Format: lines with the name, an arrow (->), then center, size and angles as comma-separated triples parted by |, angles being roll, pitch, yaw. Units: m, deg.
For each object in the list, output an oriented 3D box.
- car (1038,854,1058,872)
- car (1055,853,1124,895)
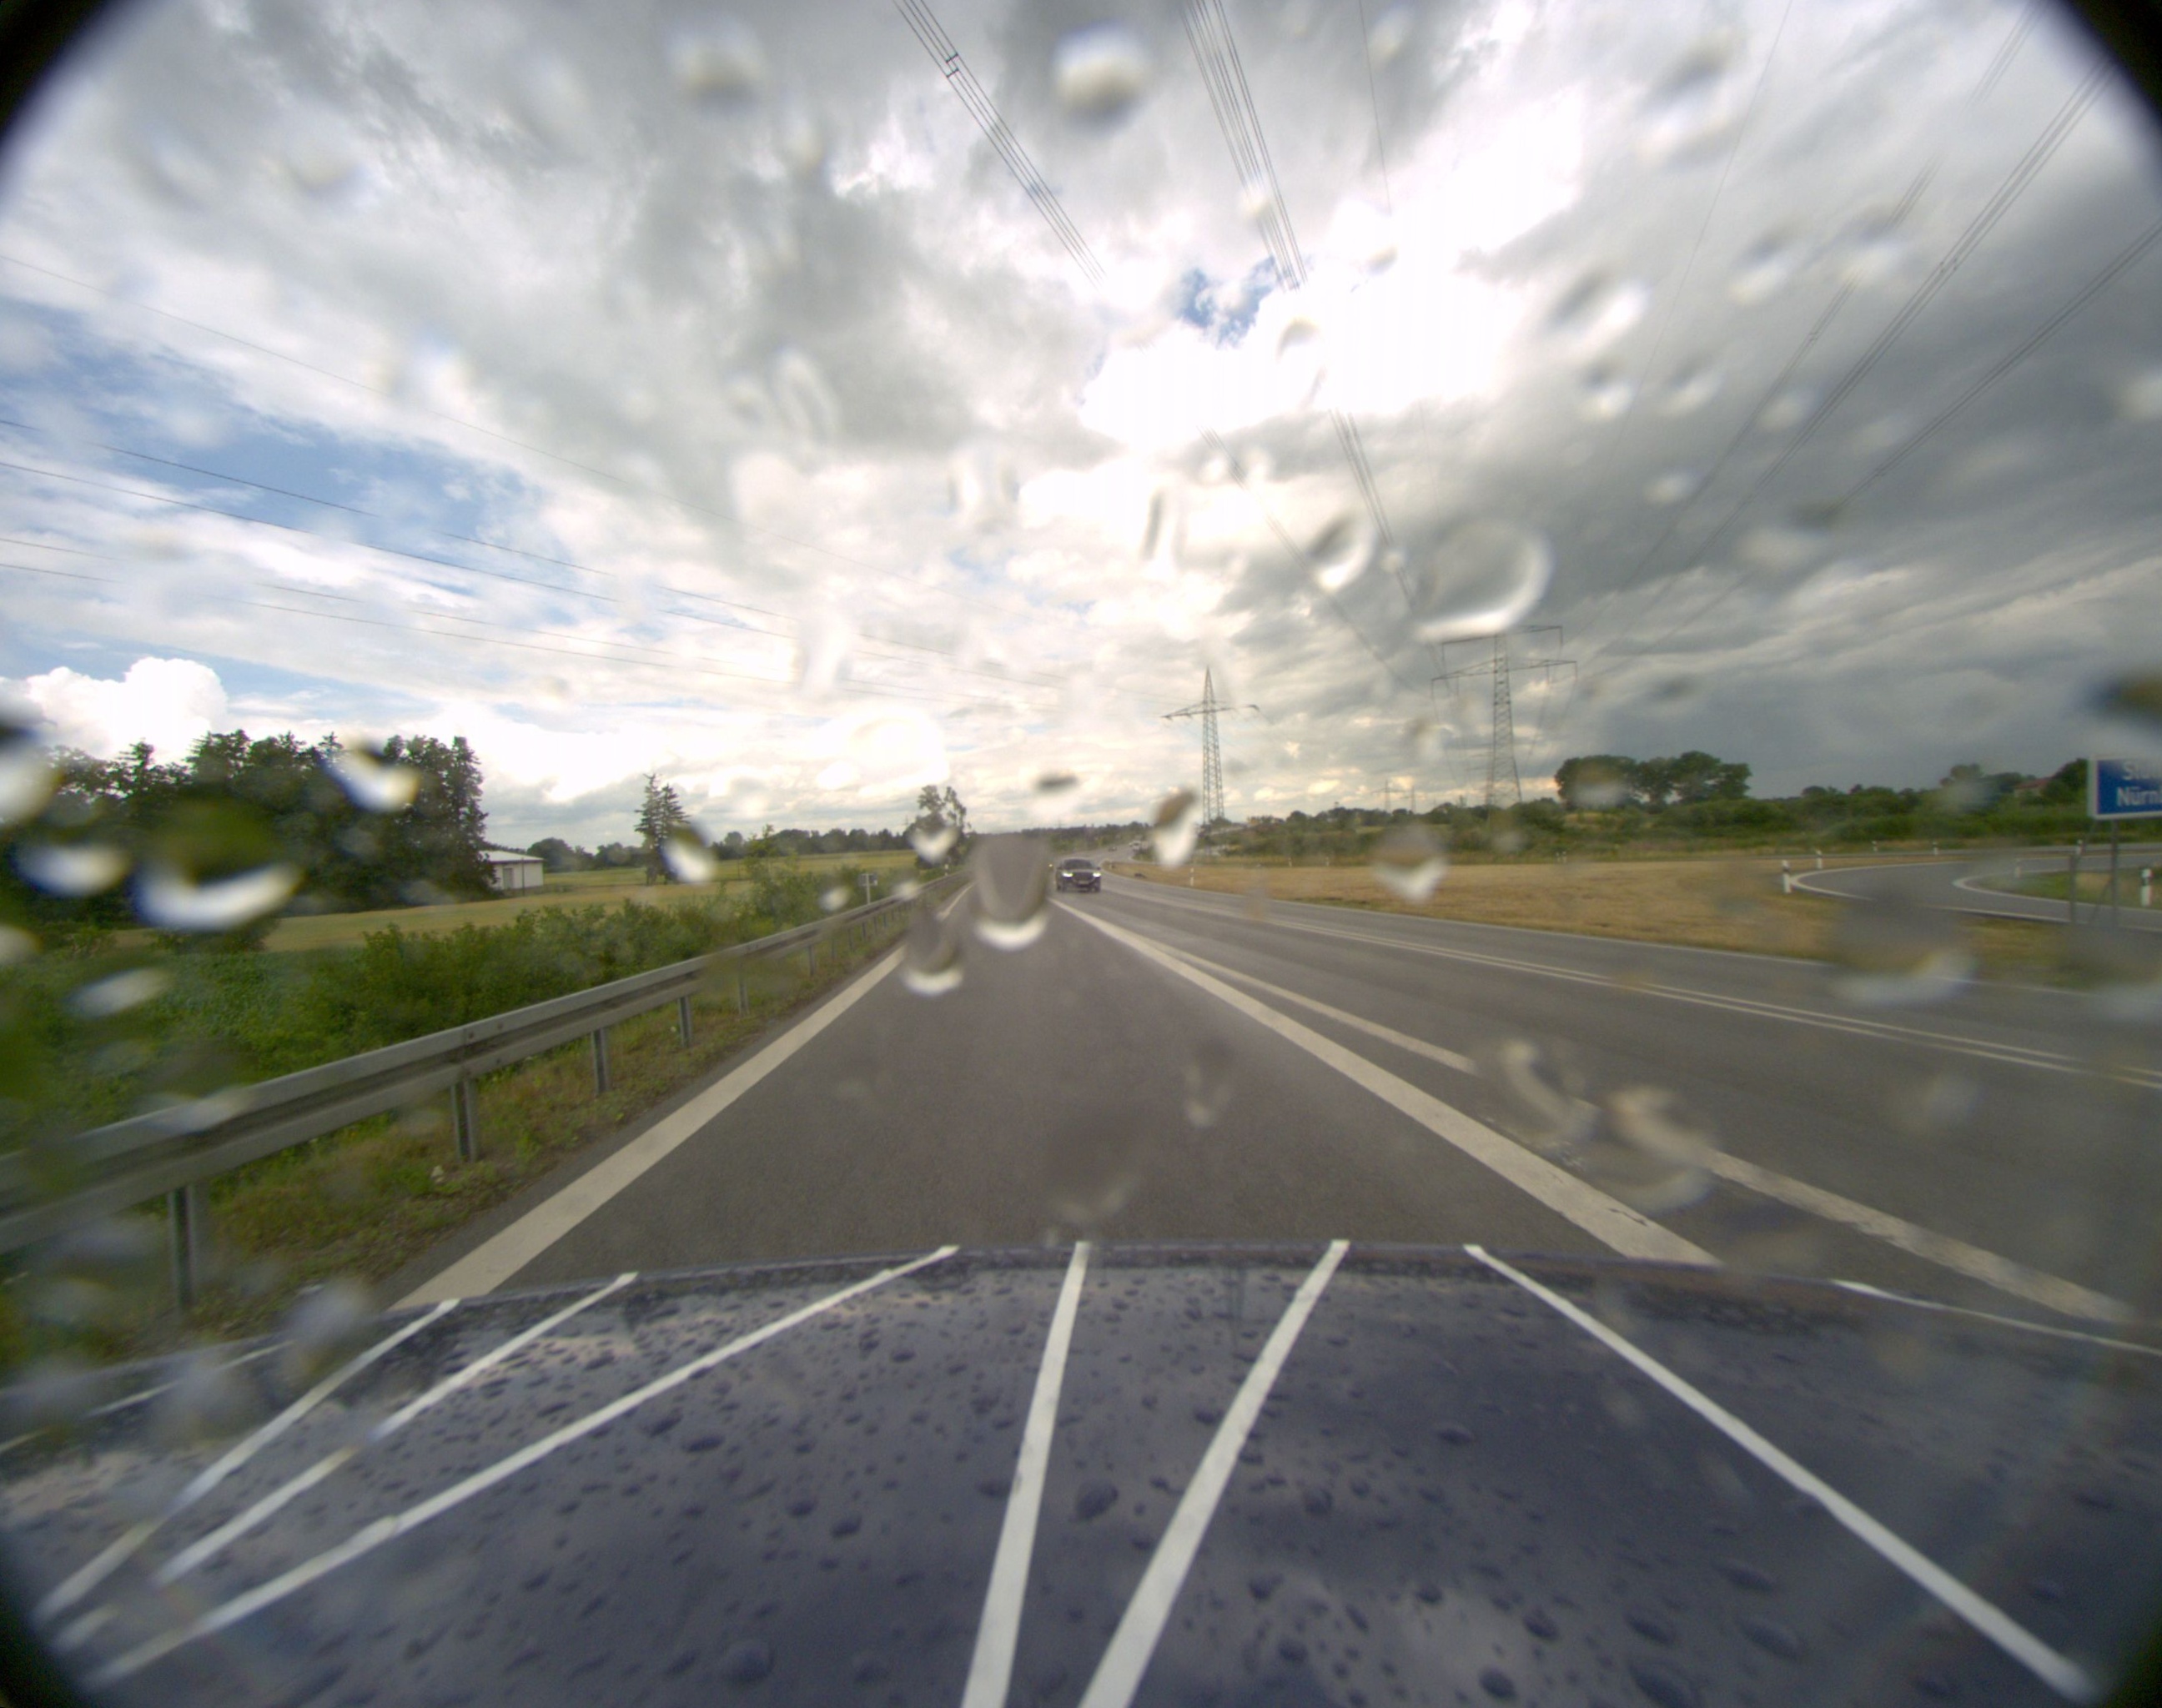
car -> -3.587, 0.939, 82.203 | 1.999, 1.742, 3.999 | -4, 1, -2
car -> 0.287, 0.801, 33.084 | 2.001, 1.710, 4.589 | 0, 0, -13
